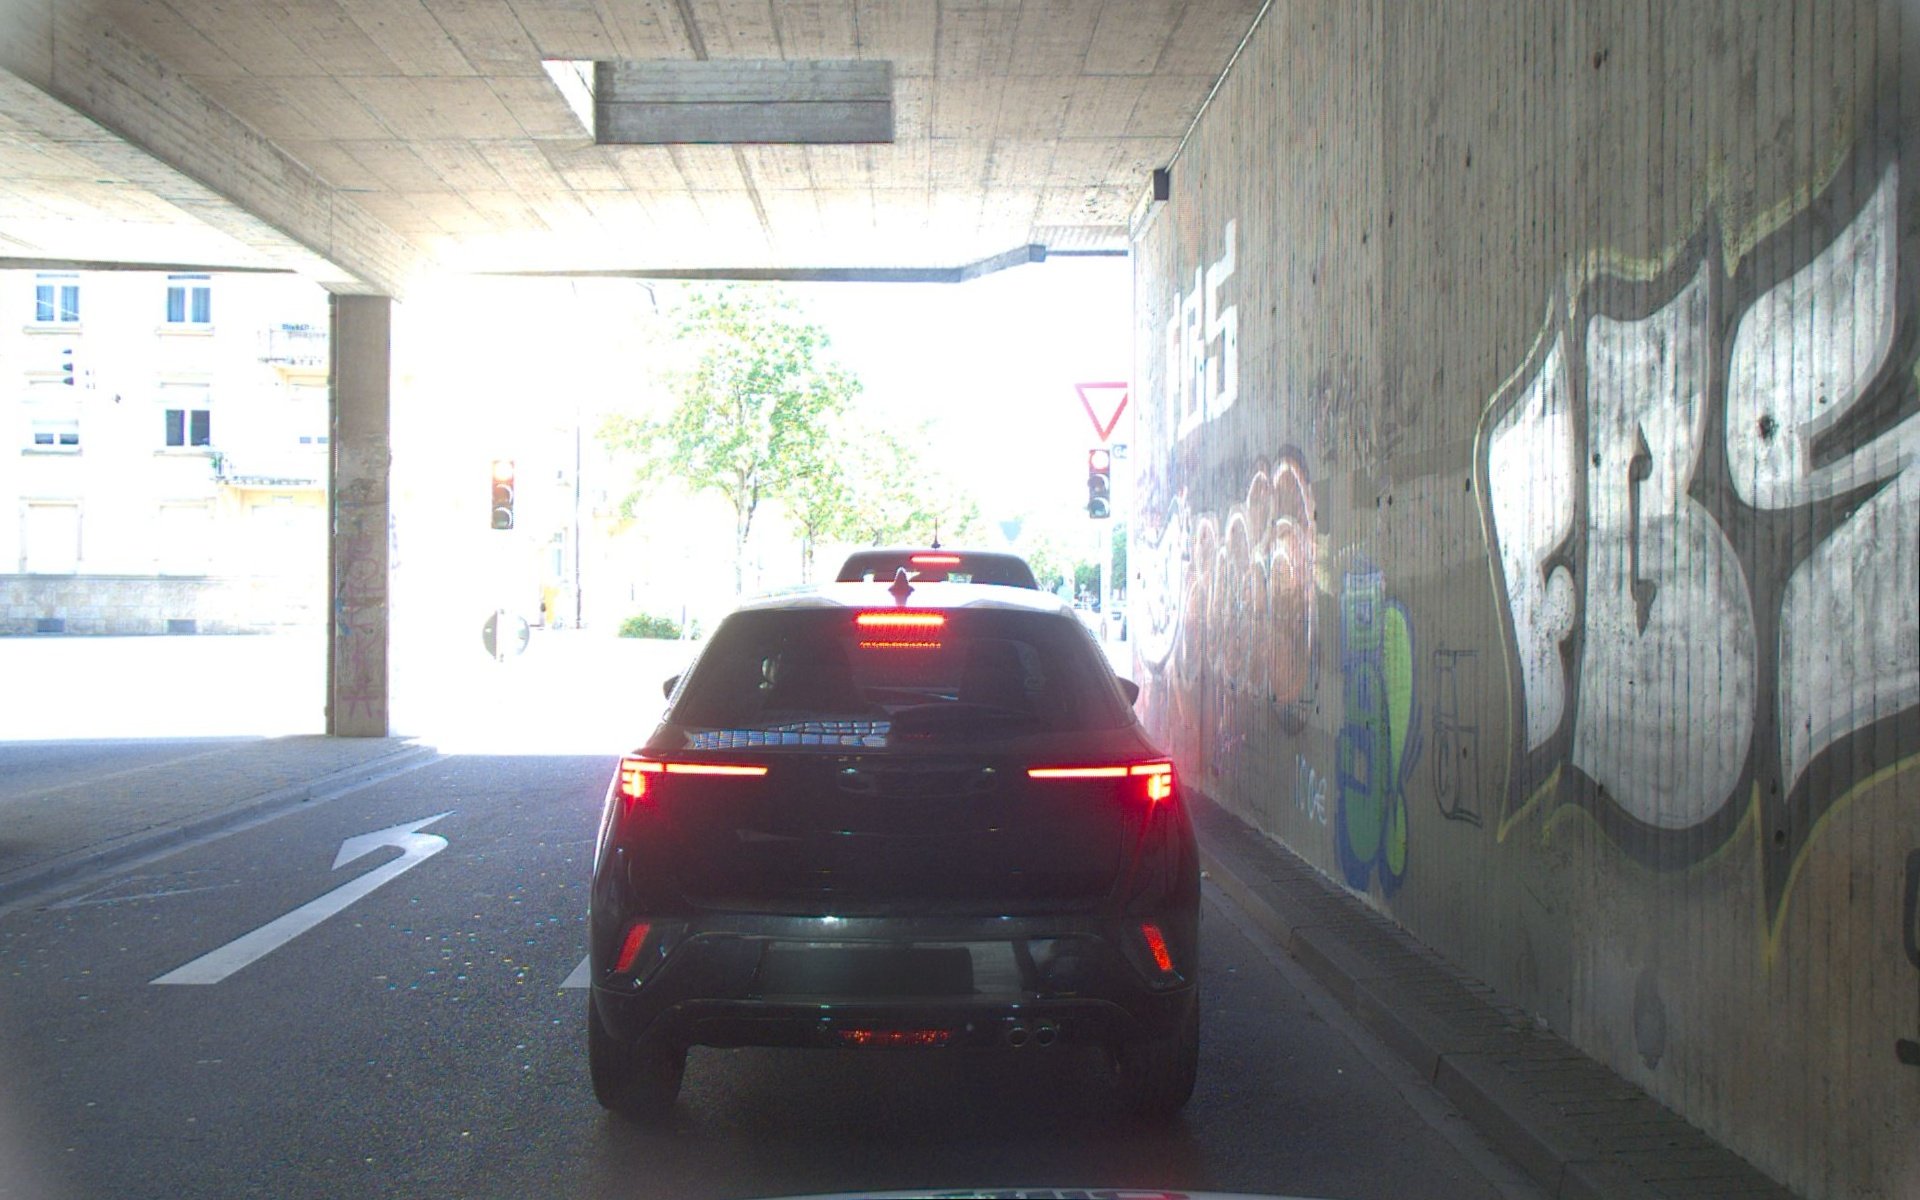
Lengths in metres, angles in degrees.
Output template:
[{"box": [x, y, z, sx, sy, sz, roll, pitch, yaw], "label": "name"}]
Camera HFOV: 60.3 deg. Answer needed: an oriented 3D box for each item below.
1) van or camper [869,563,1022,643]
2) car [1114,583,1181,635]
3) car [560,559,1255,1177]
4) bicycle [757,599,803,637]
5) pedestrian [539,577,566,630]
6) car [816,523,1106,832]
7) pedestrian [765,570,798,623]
[{"box": [-0.353, 0.085, 43.588, 3.795, 2.049, 2.002, 0, 0, 7], "label": "van or camper"}, {"box": [6.037, 0.262, 52.799, 1.951, 1.561, 4.738, 0, 0, 9], "label": "car"}, {"box": [-0.143, 0.665, 6.153, 1.718, 1.525, 4.000, 1, 0, -1], "label": "car"}, {"box": [-5.566, 0.551, 51.261, 0.721, 1.150, 2.027, 0, 0, 16], "label": "bicycle"}, {"box": [-13.691, 0.123, 55.576, 0.609, 1.734, 0.724, 1, -1, 11], "label": "pedestrian"}, {"box": [-0.013, 0.464, 12.091, 1.749, 1.865, 3.960, 1, 0, -1], "label": "car"}, {"box": [-5.540, -0.094, 51.347, 0.720, 1.612, 0.891, 1, -1, 15], "label": "pedestrian"}]
